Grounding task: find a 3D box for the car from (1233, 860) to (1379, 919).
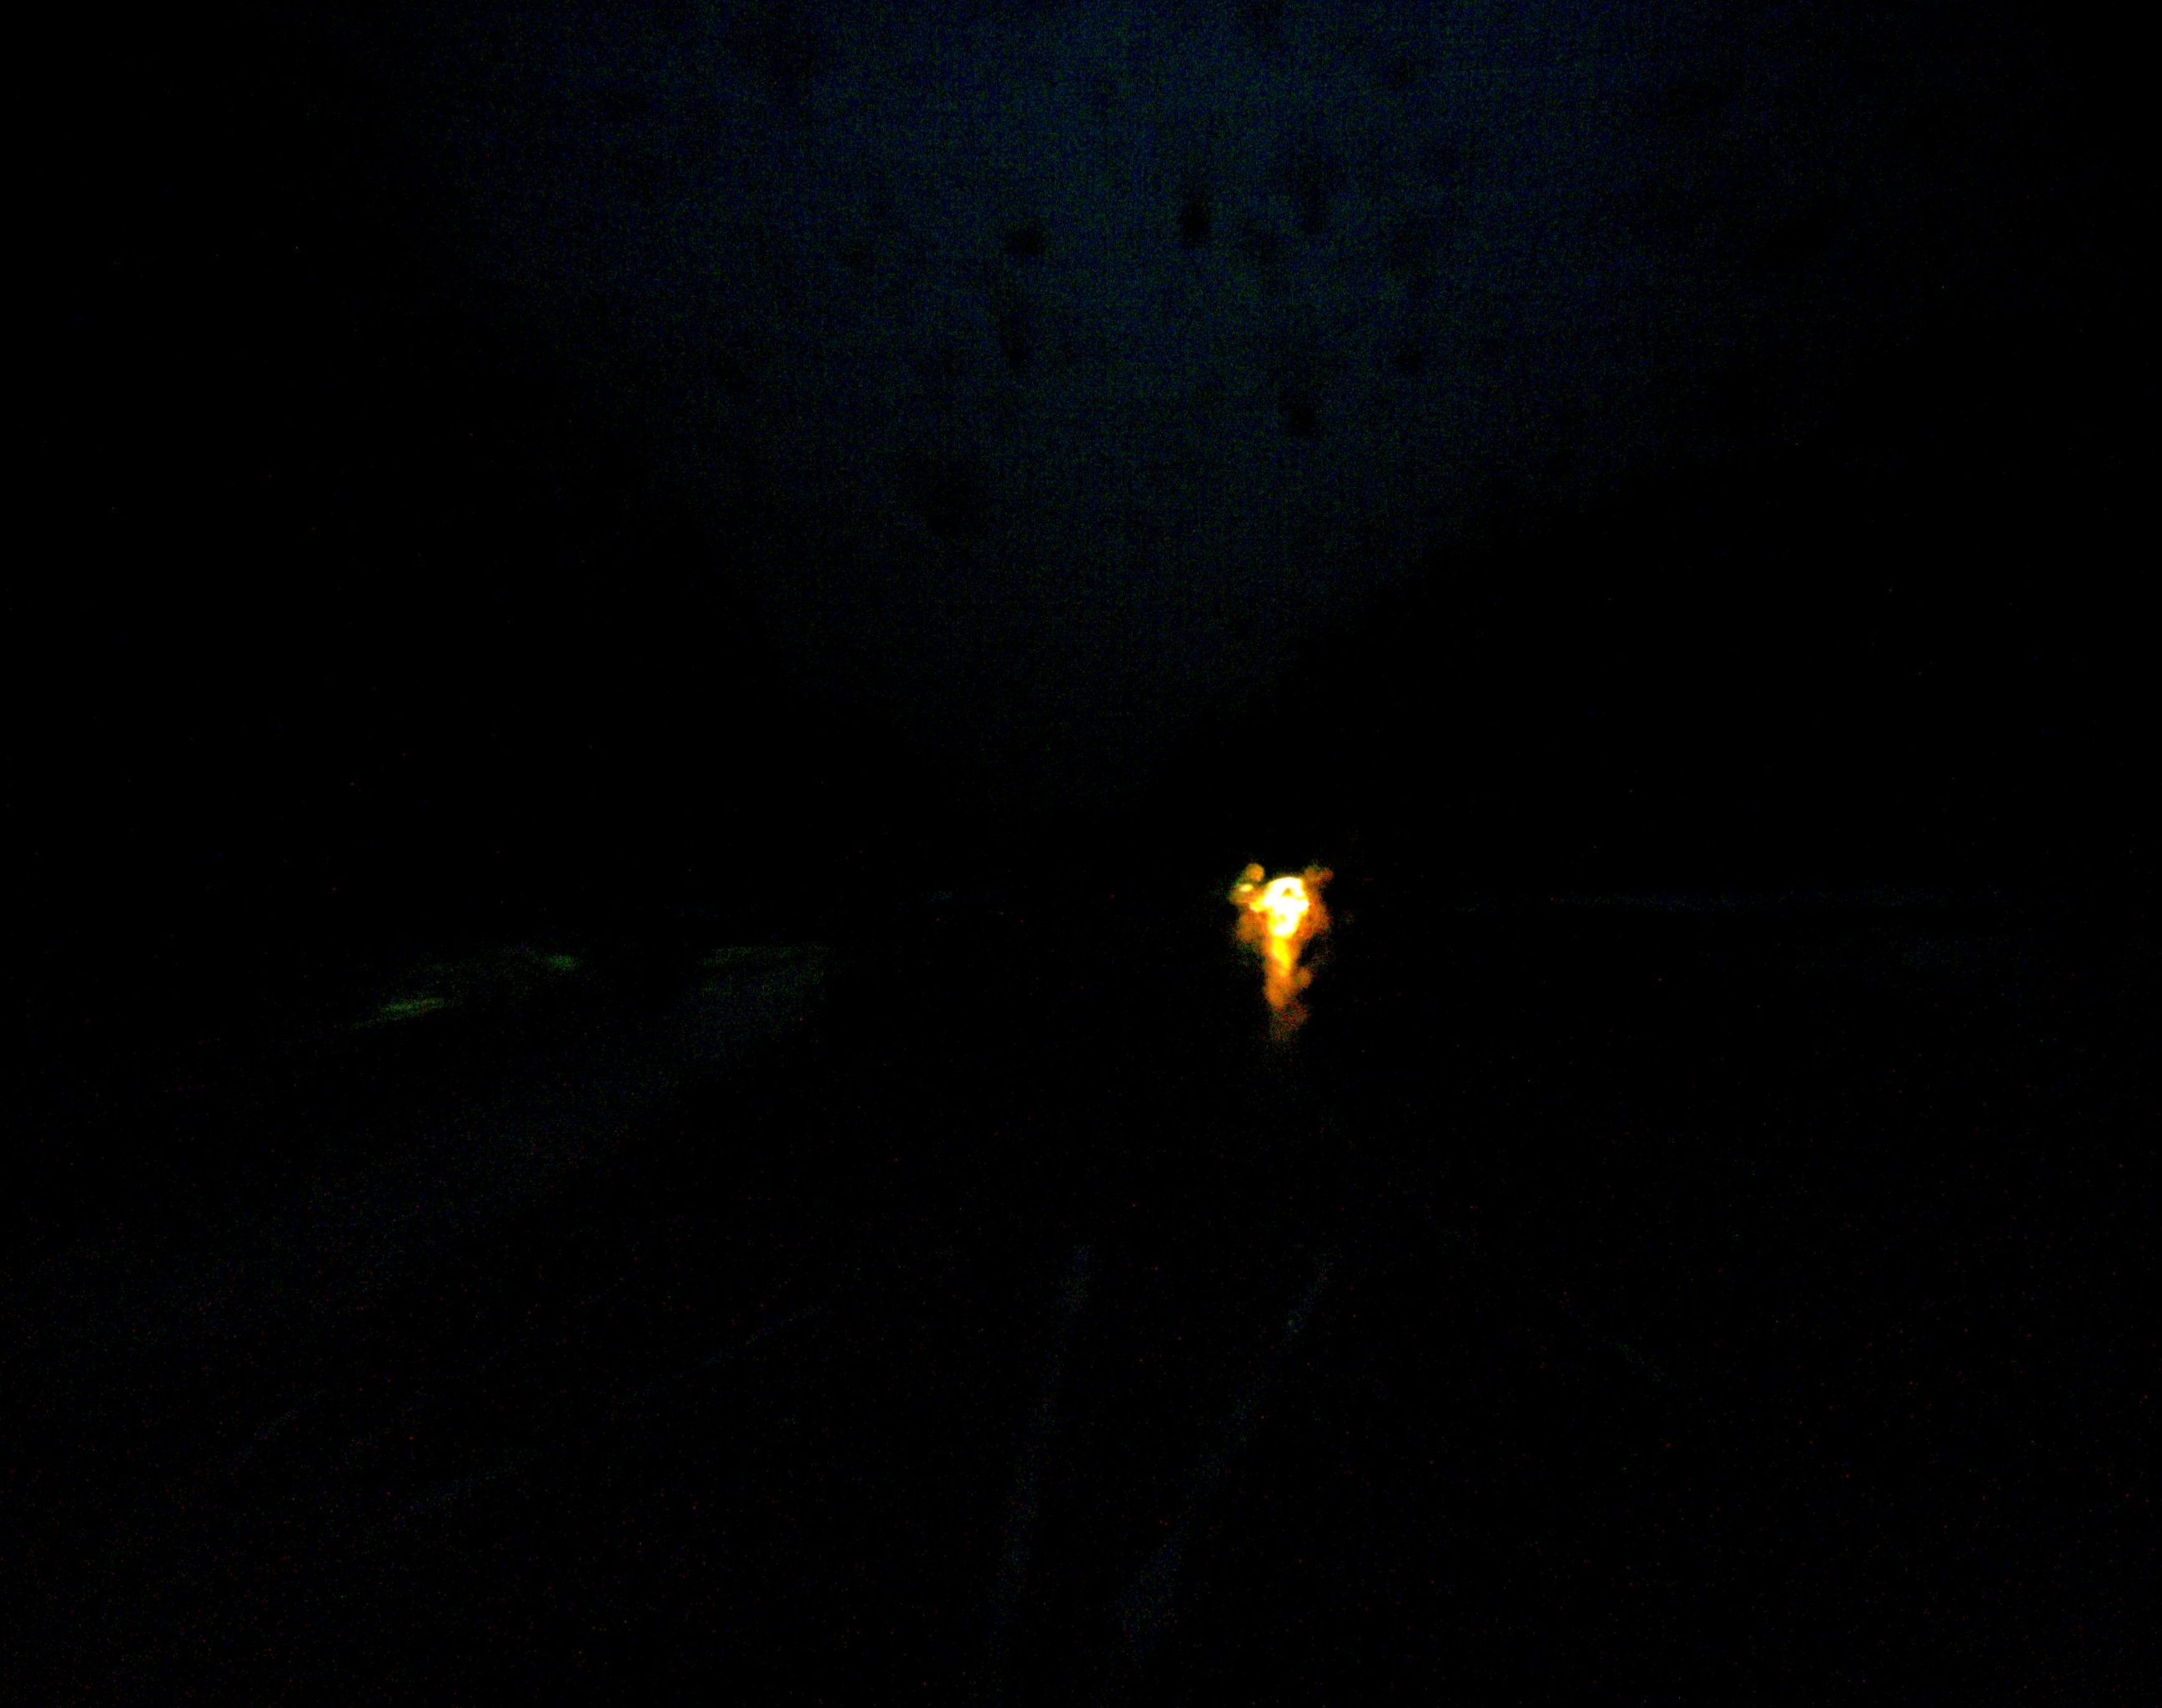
[{"bbox_3d":[6.155,0.932,20.707,3.682,1.425,1.723,-1,-1,-30],"label":"car"}]
